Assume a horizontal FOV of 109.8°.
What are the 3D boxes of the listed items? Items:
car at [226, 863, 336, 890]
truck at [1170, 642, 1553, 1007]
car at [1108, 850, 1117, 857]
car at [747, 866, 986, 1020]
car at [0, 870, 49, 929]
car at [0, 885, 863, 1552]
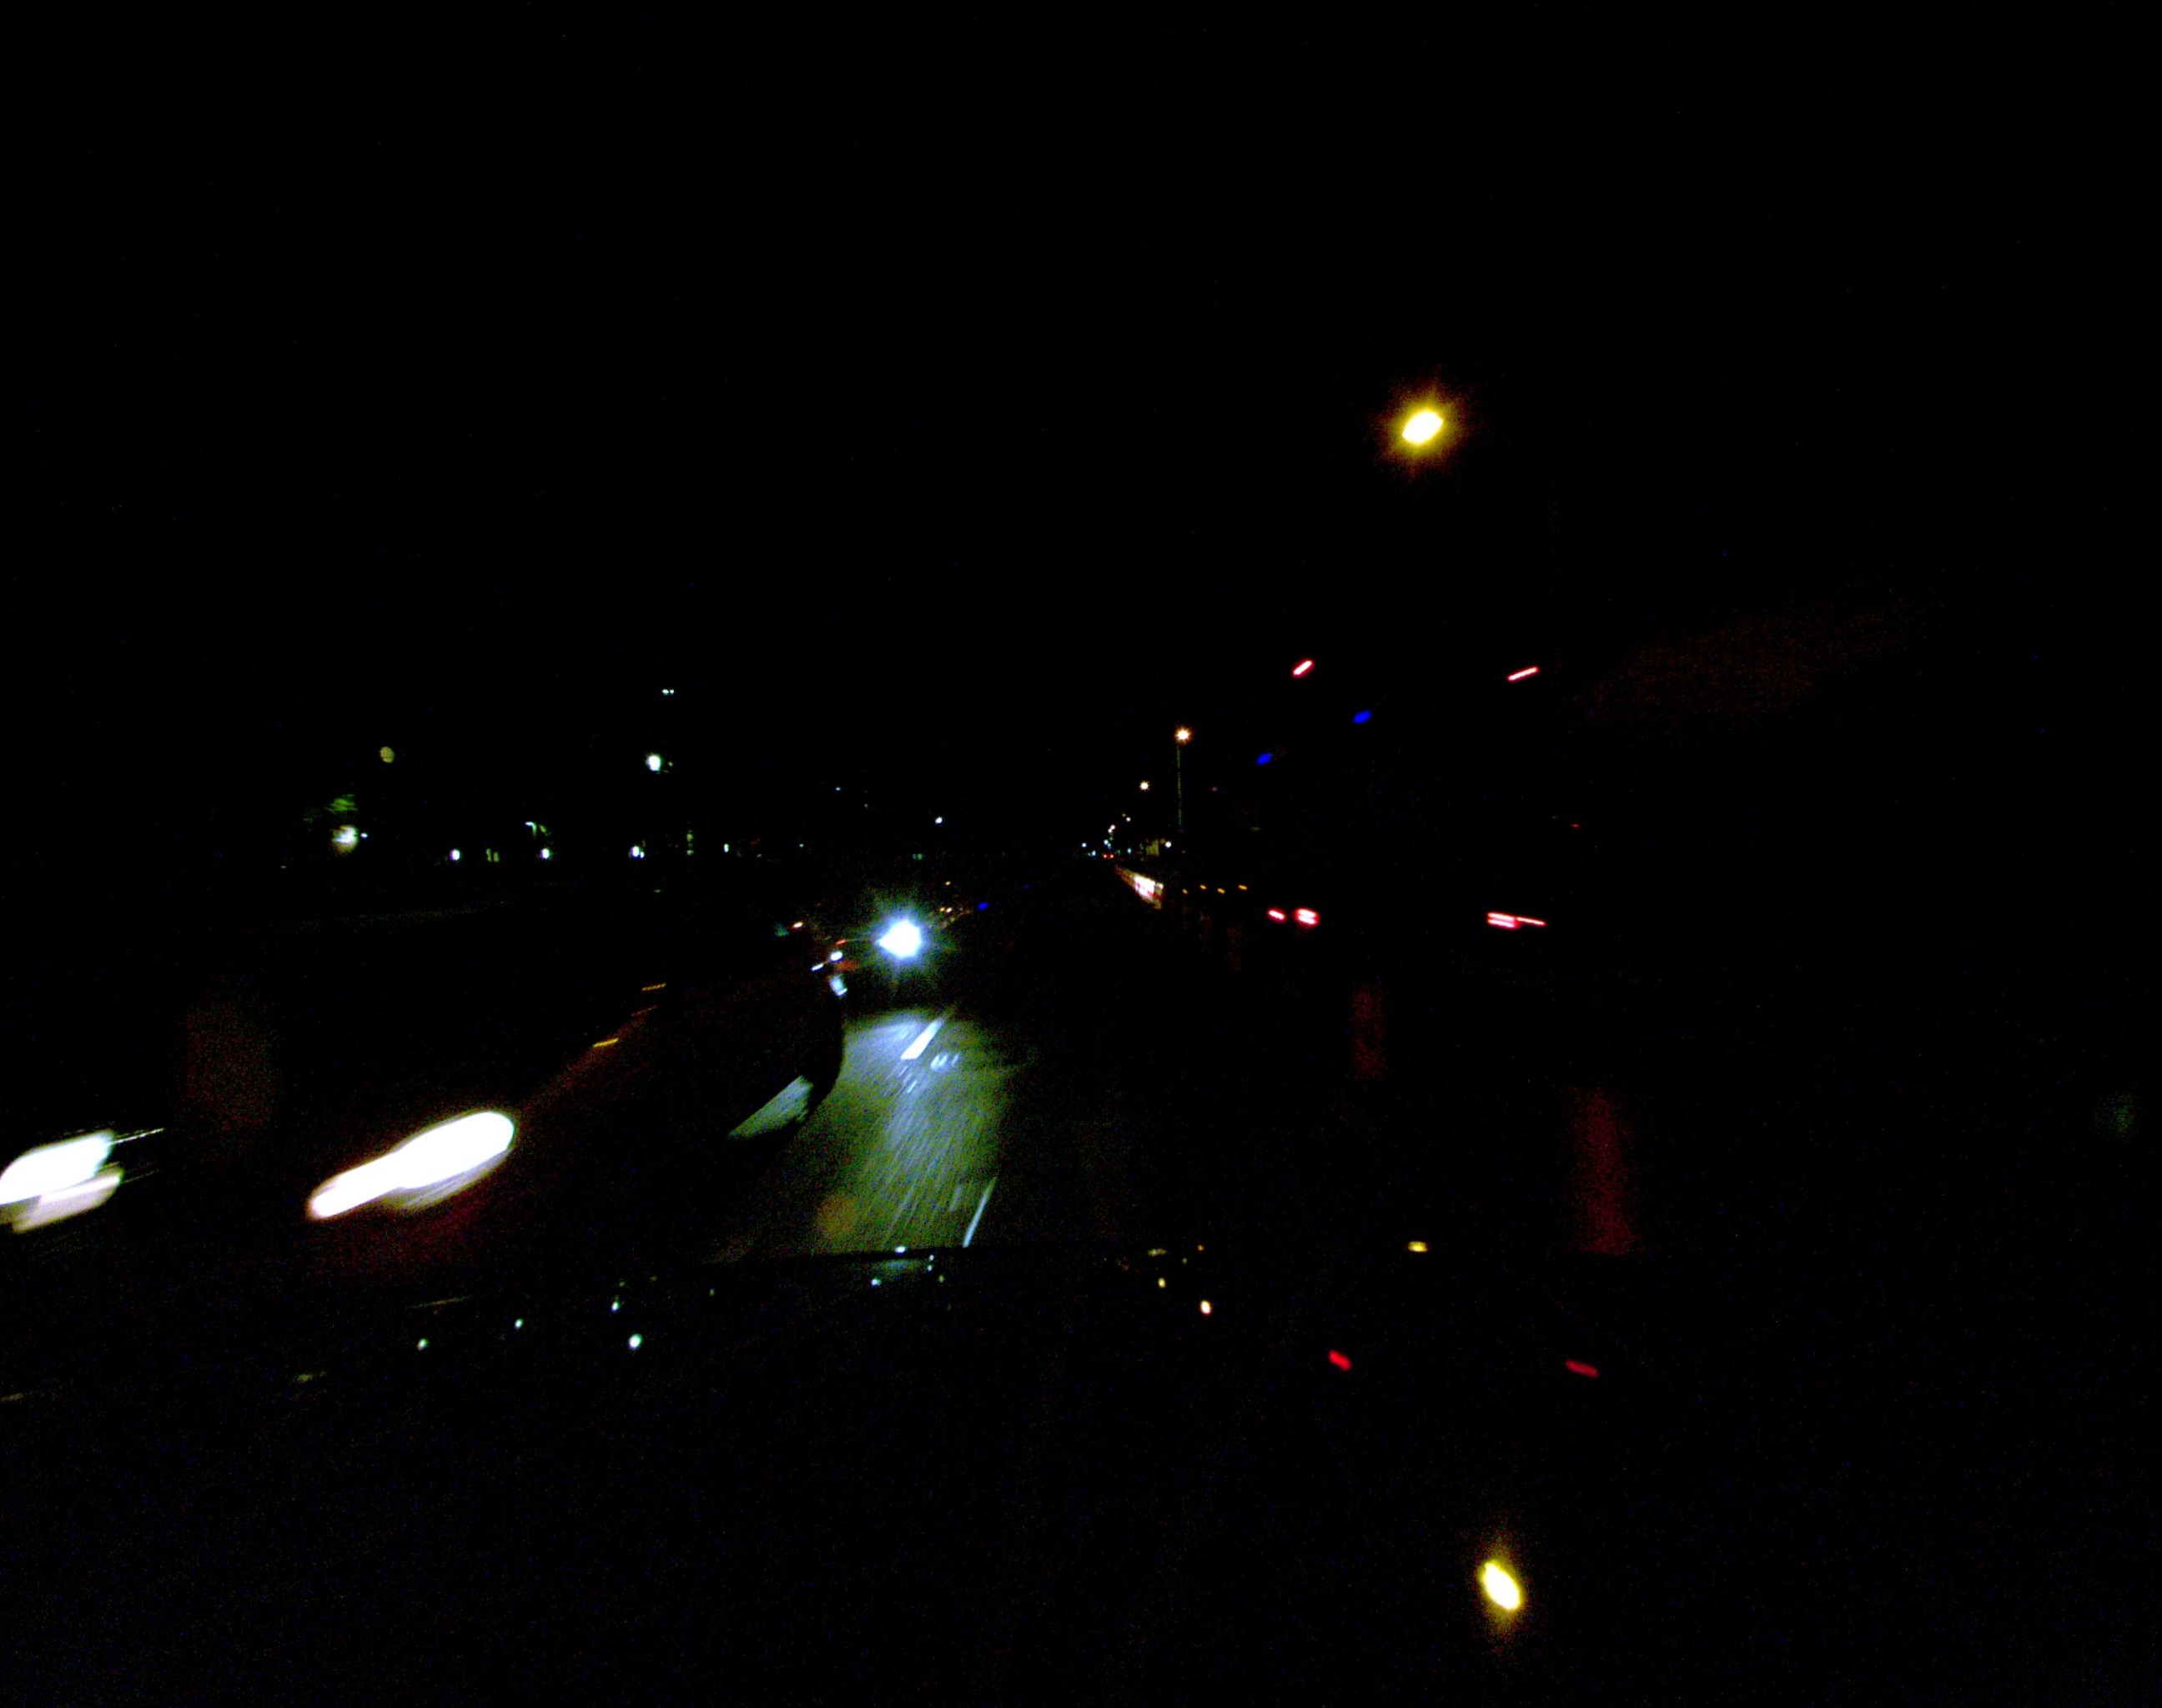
[{"bbox_3d":[-48.008,1.328,45.728,1.998,1.499,4.301,0,0,1],"label":"car"},{"bbox_3d":[3.434,-0.318,12.778,2.762,3.696,10.112,0,0,0],"label":"truck"},{"bbox_3d":[6.256,-0.065,153.323,1.671,1.420,3.999,0,1,0],"label":"car"},{"bbox_3d":[-2.642,1.017,10.680,1.809,1.485,4.729,-3,0,2],"label":"car"},{"bbox_3d":[-29.243,1.230,18.788,1.773,1.524,4.098,-1,0,1],"label":"car"},{"bbox_3d":[-2.588,1.033,3.937,1.641,1.486,4.000,-3,0,1],"label":"car"}]
